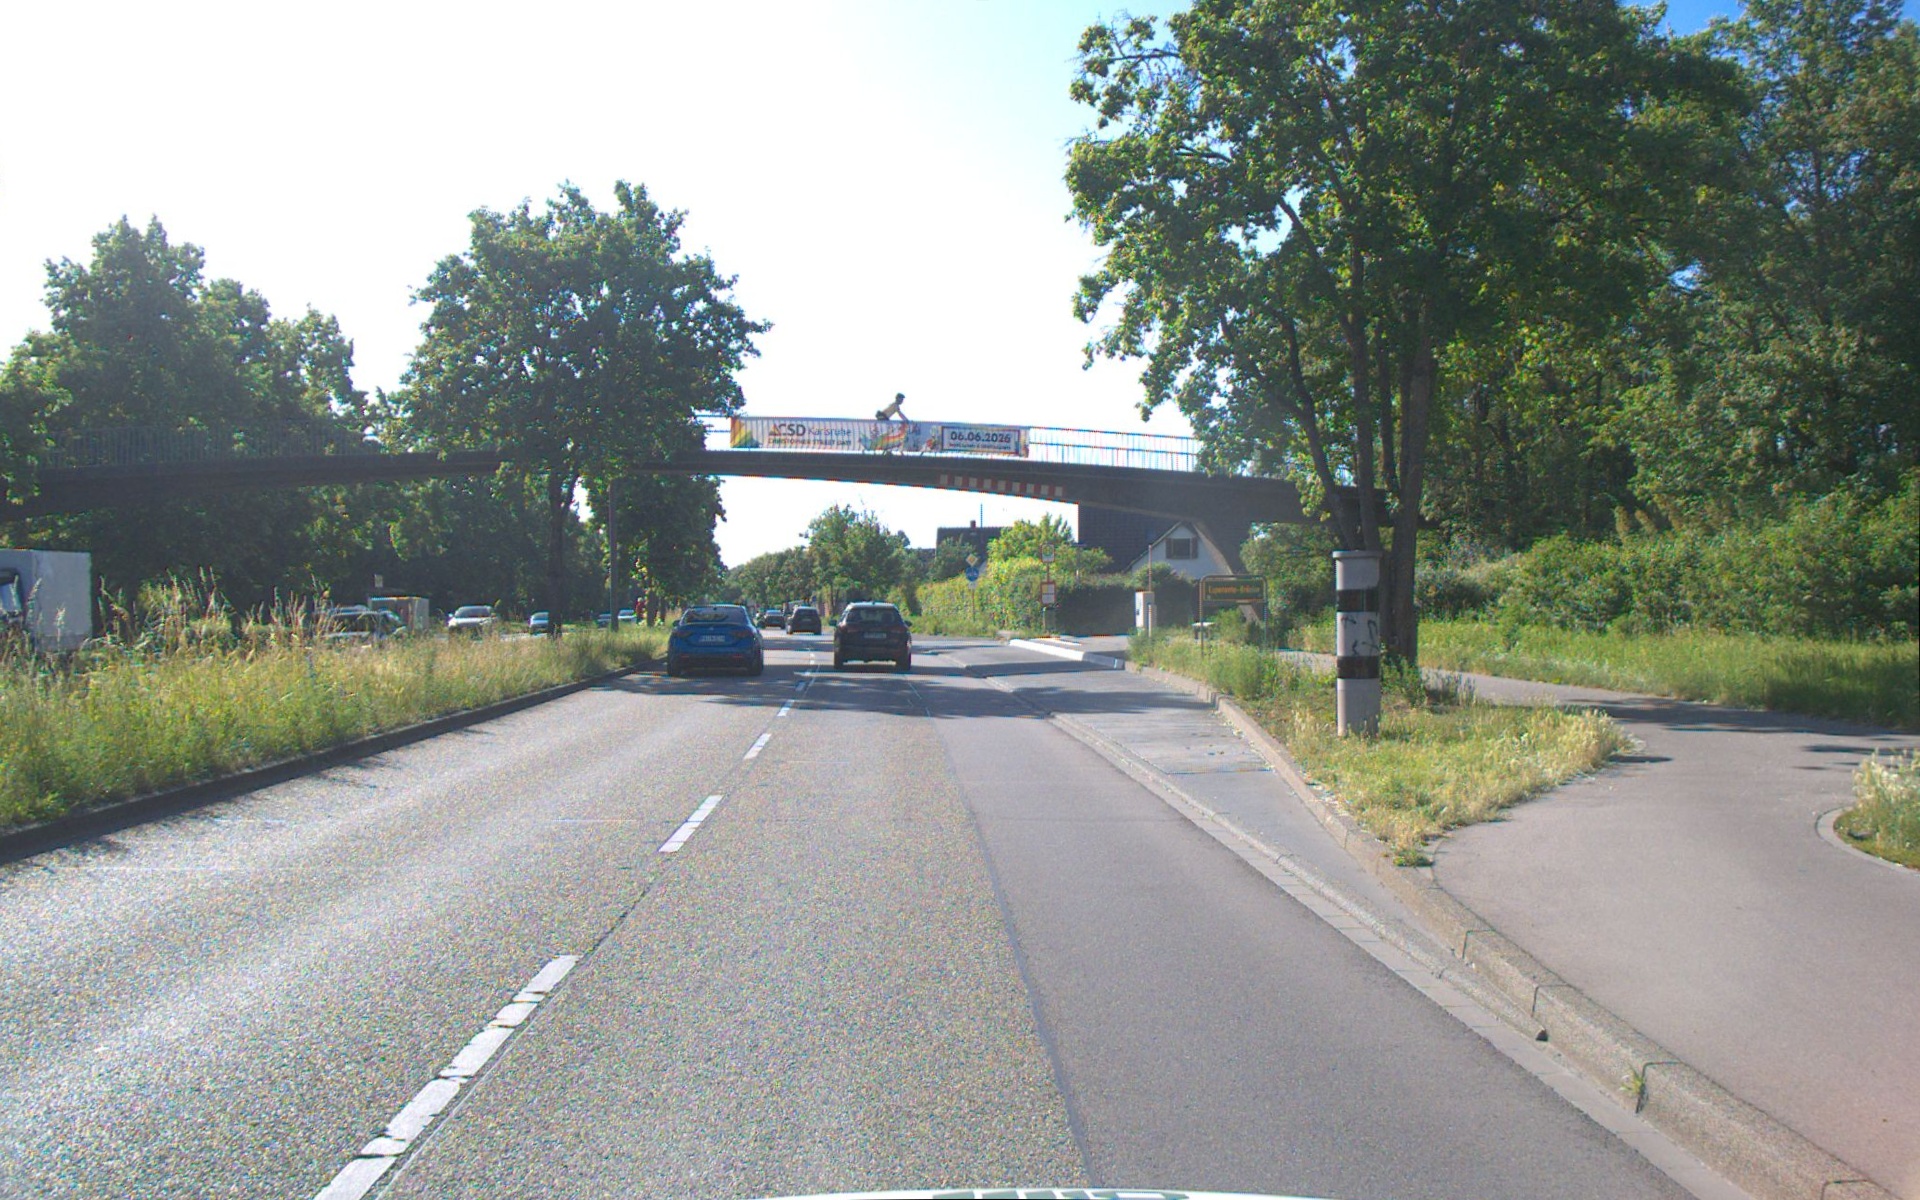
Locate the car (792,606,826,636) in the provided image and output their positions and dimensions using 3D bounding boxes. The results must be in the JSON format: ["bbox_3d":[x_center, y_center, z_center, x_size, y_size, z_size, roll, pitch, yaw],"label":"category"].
[{"bbox_3d":[-8.380,1.141,91.750,1.711,1.625,4.167,0,0,-8],"label":"car"}]

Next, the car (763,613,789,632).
[{"bbox_3d":[-14.570,1.775,130.985,1.863,1.379,3.992,0,0,-9],"label":"car"}]

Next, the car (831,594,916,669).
[{"bbox_3d":[-2.036,0.726,37.998,1.726,1.587,3.995,1,-1,-6],"label":"car"}]

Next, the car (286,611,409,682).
[{"bbox_3d":[-14.914,1.094,40.467,1.661,1.610,4.022,-1,0,-3],"label":"car"}]

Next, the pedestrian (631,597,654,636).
[{"bbox_3d":[-14.289,0.752,74.369,0.617,1.726,0.943,-1,-1,21],"label":"pedestrian"}]

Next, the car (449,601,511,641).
[{"bbox_3d":[-21.536,0.906,74.388,1.698,1.675,4.895,-2,0,-5],"label":"car"}]

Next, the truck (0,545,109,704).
[{"bbox_3d":[-16.548,0.433,27.354,2.129,2.556,5.738,-3,0,-3],"label":"truck"}]

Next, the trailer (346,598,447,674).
[{"bbox_3d":[-15.136,0.915,44.626,1.532,1.943,4.278,0,0,-4],"label":"trailer"}]

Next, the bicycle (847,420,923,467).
[{"bbox_3d":[-2.004,-4.176,44.137,1.950,1.127,0.726,1,0,-6],"label":"bicycle"}]

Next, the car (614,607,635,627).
[{"bbox_3d":[-29.972,1.510,147.852,1.698,1.660,4.188,-1,0,-9],"label":"car"}]

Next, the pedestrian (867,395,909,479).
[{"bbox_3d":[-1.925,-4.338,44.177,1.045,2.161,0.995,-1,0,-7],"label":"pedestrian"}]

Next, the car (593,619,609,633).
[{"bbox_3d":[-40.853,2.925,188.150,1.774,1.526,4.579,-1,0,-14],"label":"car"}]

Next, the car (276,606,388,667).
[{"bbox_3d":[-18.482,1.038,48.883,1.820,1.634,4.364,-2,0,-4],"label":"car"}]

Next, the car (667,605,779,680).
[{"bbox_3d":[-4.870,0.835,34.422,1.955,1.429,3.997,-1,0,-3],"label":"car"}]

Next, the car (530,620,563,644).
[{"bbox_3d":[-27.167,2.091,108.817,1.510,1.456,4.250,-2,0,-6],"label":"car"}]
